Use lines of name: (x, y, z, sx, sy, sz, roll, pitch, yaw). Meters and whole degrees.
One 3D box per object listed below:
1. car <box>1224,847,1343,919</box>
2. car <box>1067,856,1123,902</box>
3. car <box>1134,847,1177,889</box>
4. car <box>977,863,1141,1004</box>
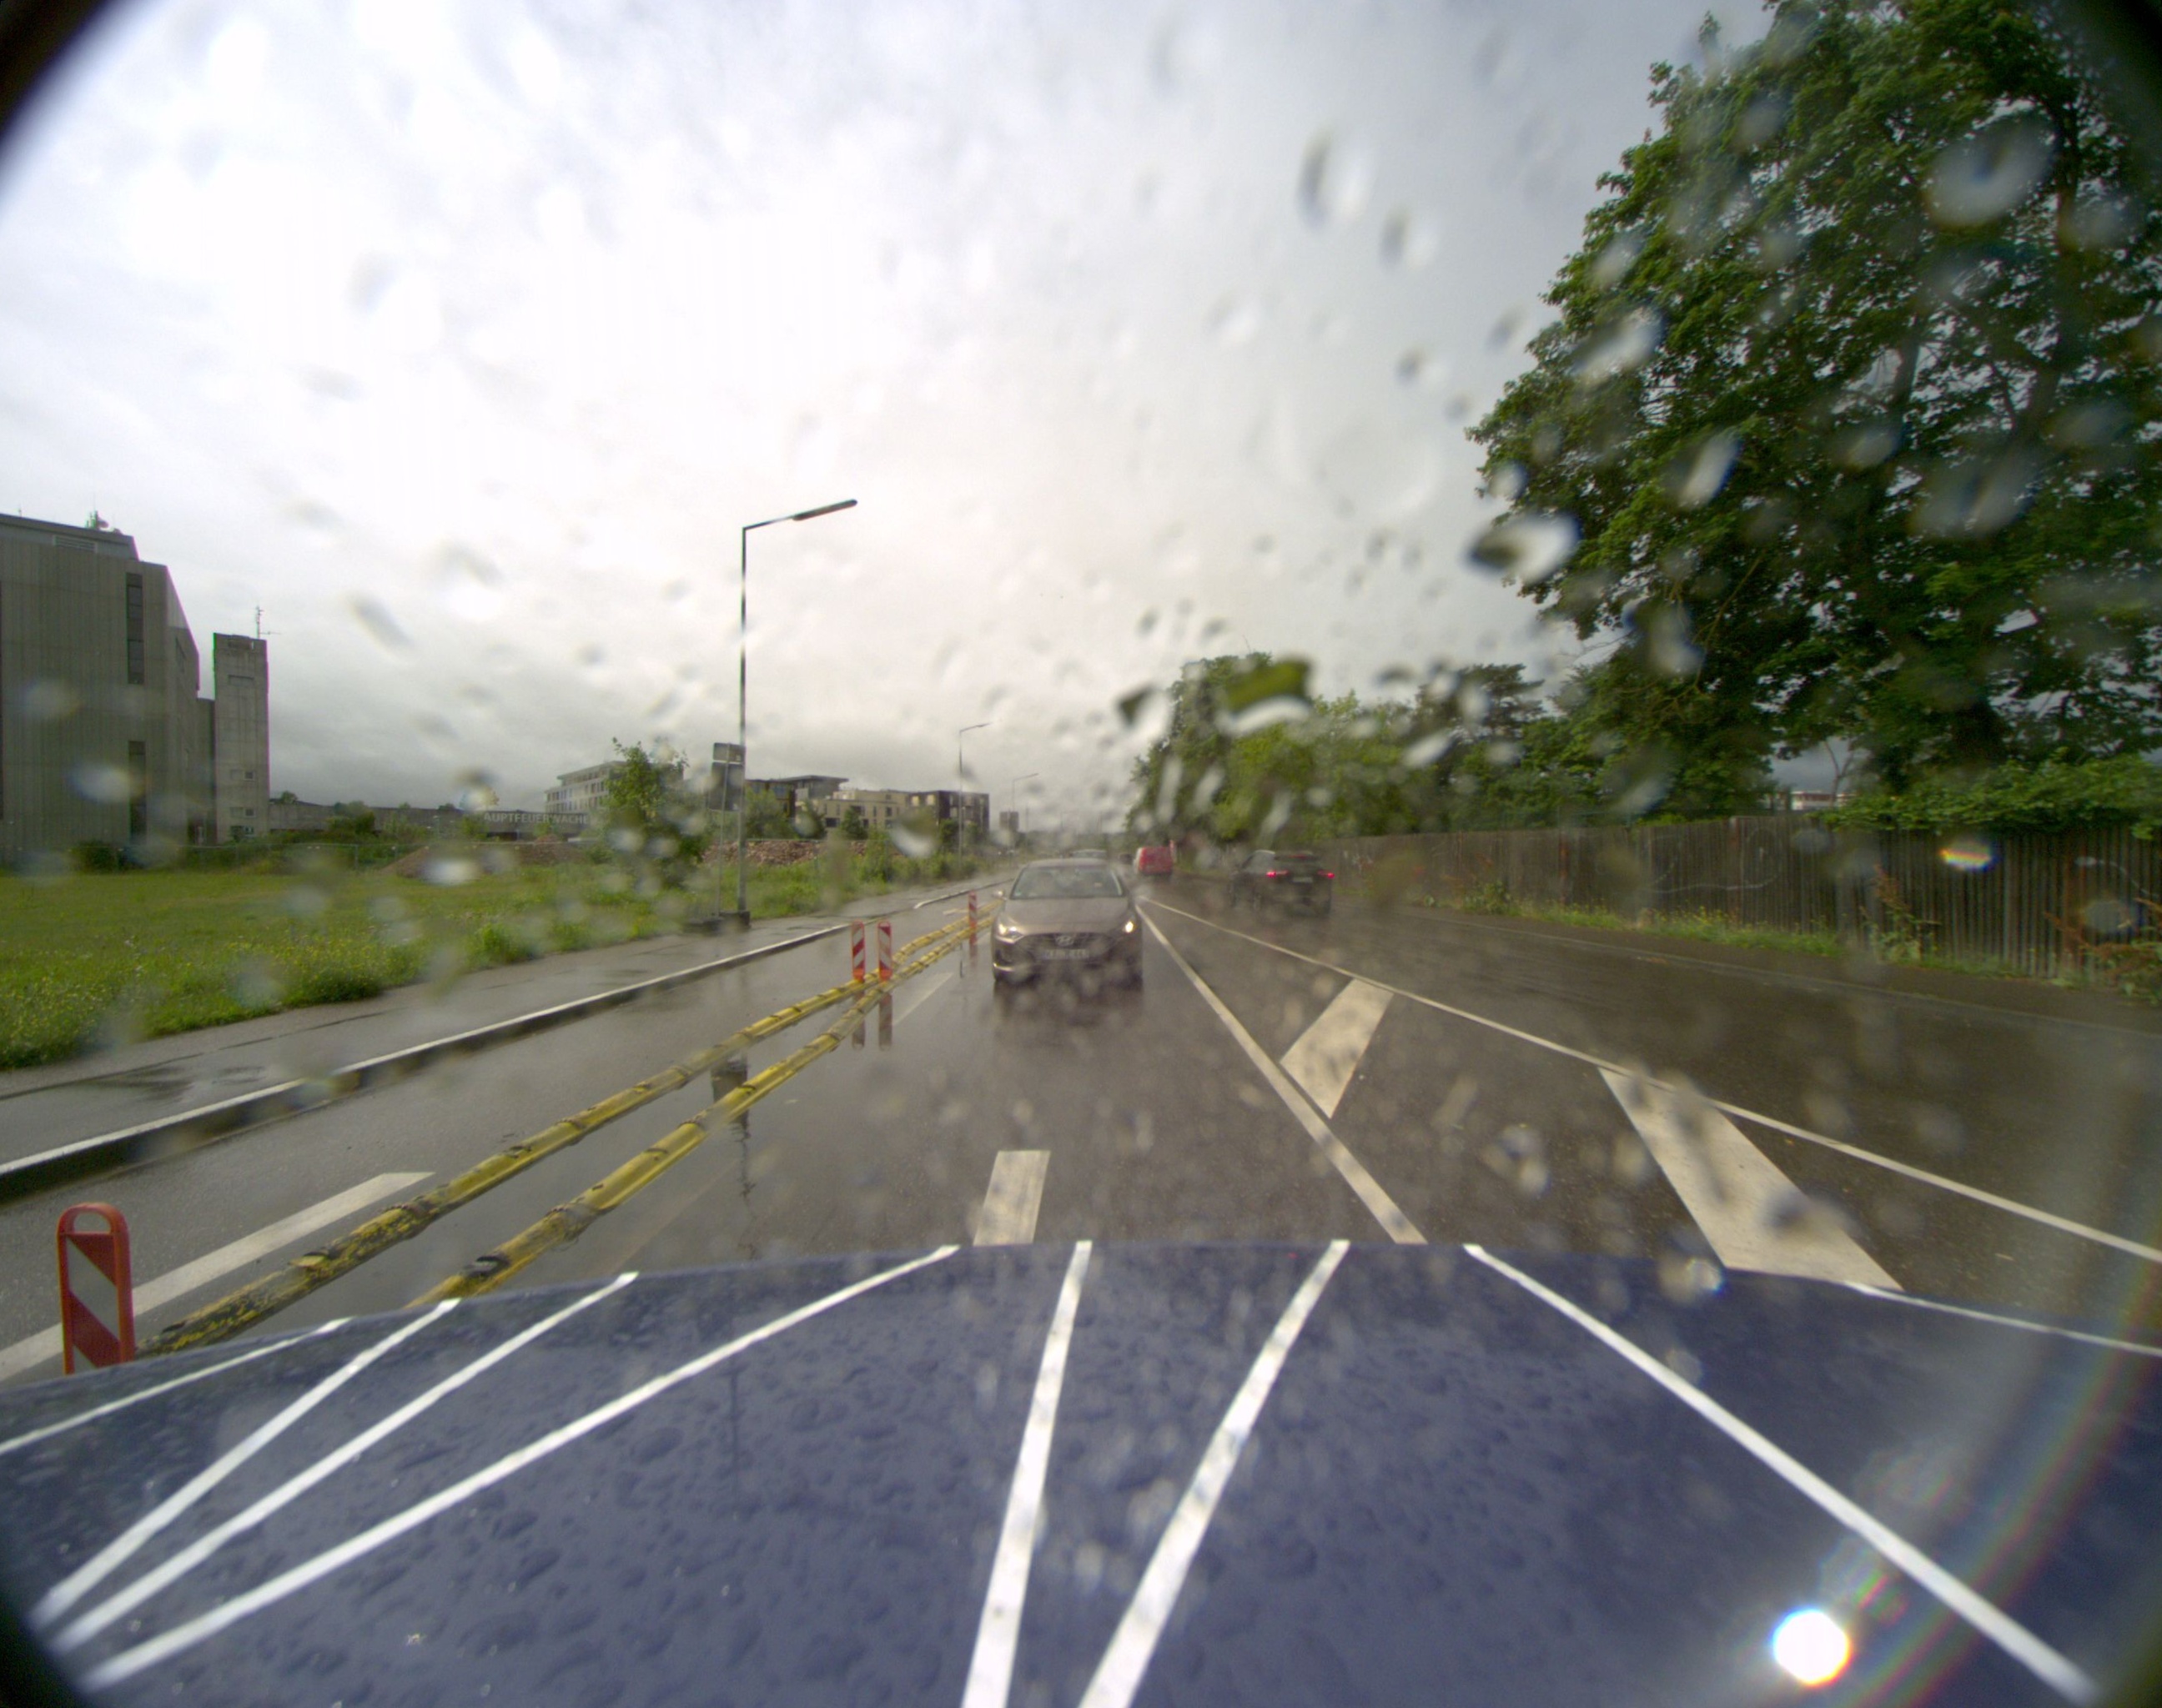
car: (5.218, 0.704, 20.133, 1.855, 1.699, 3.999, 0, 0, -3)
car: (0.637, 0.951, 30.490, 1.873, 1.653, 4.485, -1, 0, 6)
car: (4.299, 0.791, 44.482, 1.999, 2.321, 3.999, 0, 0, -2)
car: (-0.126, 0.888, 10.263, 1.734, 1.405, 4.128, -2, 0, 3)
